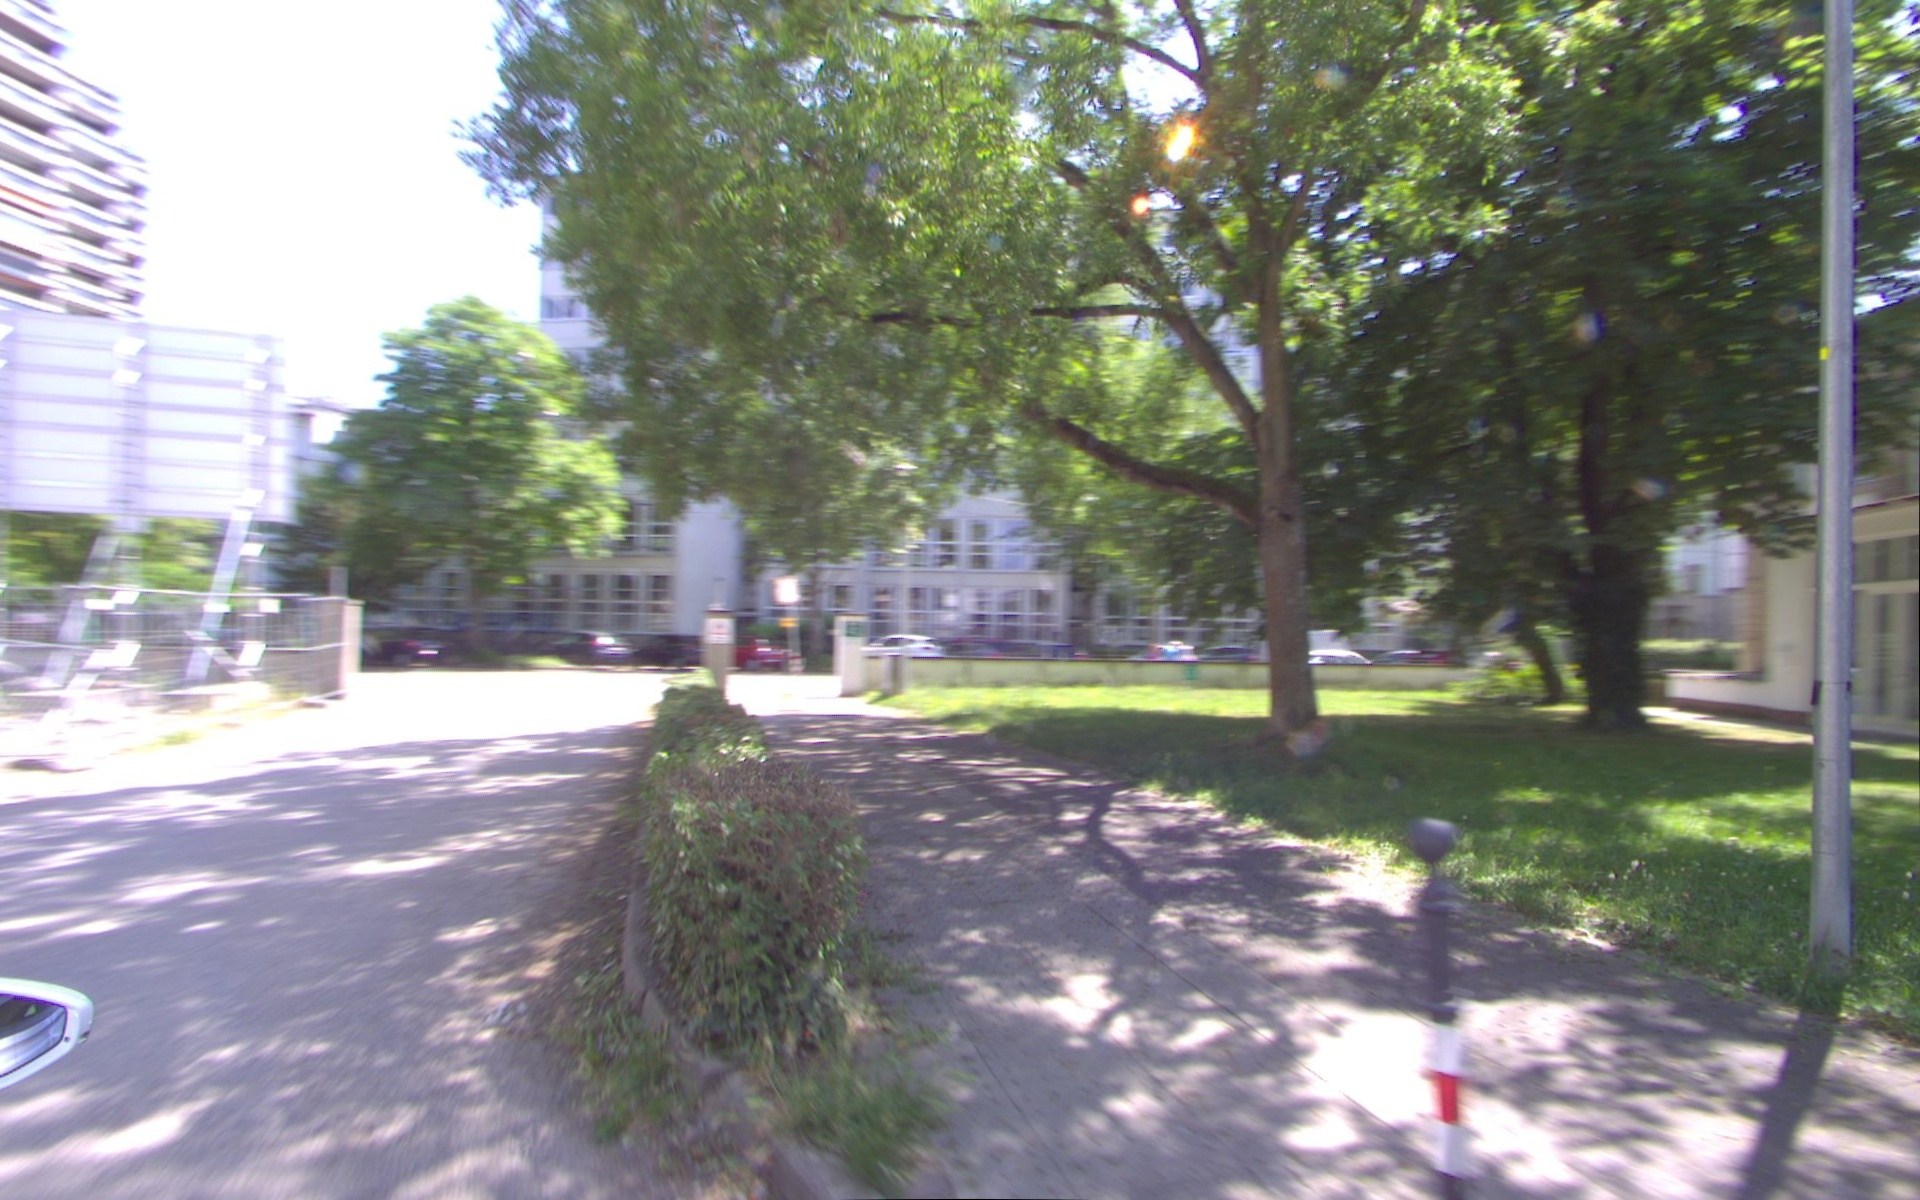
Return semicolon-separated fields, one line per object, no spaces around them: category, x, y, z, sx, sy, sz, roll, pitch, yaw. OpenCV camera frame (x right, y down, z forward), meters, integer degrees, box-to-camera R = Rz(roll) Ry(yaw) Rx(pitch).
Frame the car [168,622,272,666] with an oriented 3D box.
car;-26.486;1.556;35.826;3.622;1.482;1.632;0;-2;30

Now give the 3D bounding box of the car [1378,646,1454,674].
car;23.117;3.032;50.768;3.297;1.307;1.489;-1;-2;36

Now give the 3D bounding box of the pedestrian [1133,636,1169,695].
pedestrian;5.248;1.804;27.504;0.720;1.609;0.740;1;-3;-15

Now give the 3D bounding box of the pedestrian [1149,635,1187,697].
pedestrian;5.470;1.739;26.356;0.720;1.609;0.740;1;-3;-17

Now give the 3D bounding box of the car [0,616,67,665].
car;-30.316;1.266;31.777;3.618;1.482;1.634;0;-2;25

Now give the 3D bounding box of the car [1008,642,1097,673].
car;4.163;2.589;45.367;3.690;1.322;1.605;0;-2;32

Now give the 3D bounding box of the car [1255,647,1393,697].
car;11.523;2.282;31.724;3.868;1.483;1.703;2;-1;-17

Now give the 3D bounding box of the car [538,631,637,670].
car;-14.940;2.000;40.156;3.617;1.482;1.640;0;-2;25

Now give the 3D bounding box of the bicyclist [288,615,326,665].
bicyclist;-22.379;1.387;34.336;0.886;1.687;0.856;1;-1;-21

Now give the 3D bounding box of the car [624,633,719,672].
car;-11.785;2.122;40.941;3.620;1.463;1.607;0;-2;28

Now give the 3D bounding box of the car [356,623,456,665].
car;-20.988;1.648;37.920;3.622;1.482;1.632;0;-2;30

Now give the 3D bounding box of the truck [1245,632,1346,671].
truck;16.499;2.499;49.265;4.569;1.856;1.651;-1;-2;25

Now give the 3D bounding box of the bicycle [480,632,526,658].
bicycle;-20.912;2.056;45.871;0.768;1.172;2.385;1;-2;6

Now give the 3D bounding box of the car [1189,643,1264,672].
car;12.956;2.761;48.711;3.310;1.307;1.530;0;-2;25

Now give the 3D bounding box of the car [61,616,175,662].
car;-28.861;1.316;34.323;3.618;1.482;1.634;0;-2;25

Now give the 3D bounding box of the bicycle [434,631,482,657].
bicycle;-23.013;2.004;45.976;0.768;1.172;2.385;1;-2;6

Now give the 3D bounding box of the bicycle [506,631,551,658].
bicycle;-19.703;2.040;45.797;0.768;1.203;2.433;1;-2;6

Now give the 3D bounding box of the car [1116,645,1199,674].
car;9.464;2.837;47.993;3.681;1.307;1.609;0;-2;23

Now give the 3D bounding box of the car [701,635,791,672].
car;-8.991;2.212;42.051;3.550;1.455;1.605;0;-2;31

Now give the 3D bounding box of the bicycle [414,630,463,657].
bicycle;-23.946;1.992;46.022;0.768;1.172;2.385;1;-2;6

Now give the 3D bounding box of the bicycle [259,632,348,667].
bicycle;-22.450;1.702;34.303;2.400;1.166;0.784;2;-1;-22

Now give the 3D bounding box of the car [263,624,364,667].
car;-23.925;1.659;37.039;3.622;1.482;1.632;0;-2;30

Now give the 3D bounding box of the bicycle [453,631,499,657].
bicycle;-22.159;2.014;45.897;0.768;1.172;2.385;1;-2;6

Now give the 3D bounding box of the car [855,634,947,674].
car;-2.592;2.343;43.772;3.683;1.640;1.608;0;-2;25

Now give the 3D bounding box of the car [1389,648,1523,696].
car;16.377;2.363;33.070;3.868;1.483;1.703;2;-1;-17

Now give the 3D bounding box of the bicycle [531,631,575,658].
bicycle;-18.555;2.032;45.720;0.768;1.203;2.433;1;-2;6

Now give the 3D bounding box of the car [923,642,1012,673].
car;0.331;2.553;44.712;3.690;1.297;1.605;0;-2;31
